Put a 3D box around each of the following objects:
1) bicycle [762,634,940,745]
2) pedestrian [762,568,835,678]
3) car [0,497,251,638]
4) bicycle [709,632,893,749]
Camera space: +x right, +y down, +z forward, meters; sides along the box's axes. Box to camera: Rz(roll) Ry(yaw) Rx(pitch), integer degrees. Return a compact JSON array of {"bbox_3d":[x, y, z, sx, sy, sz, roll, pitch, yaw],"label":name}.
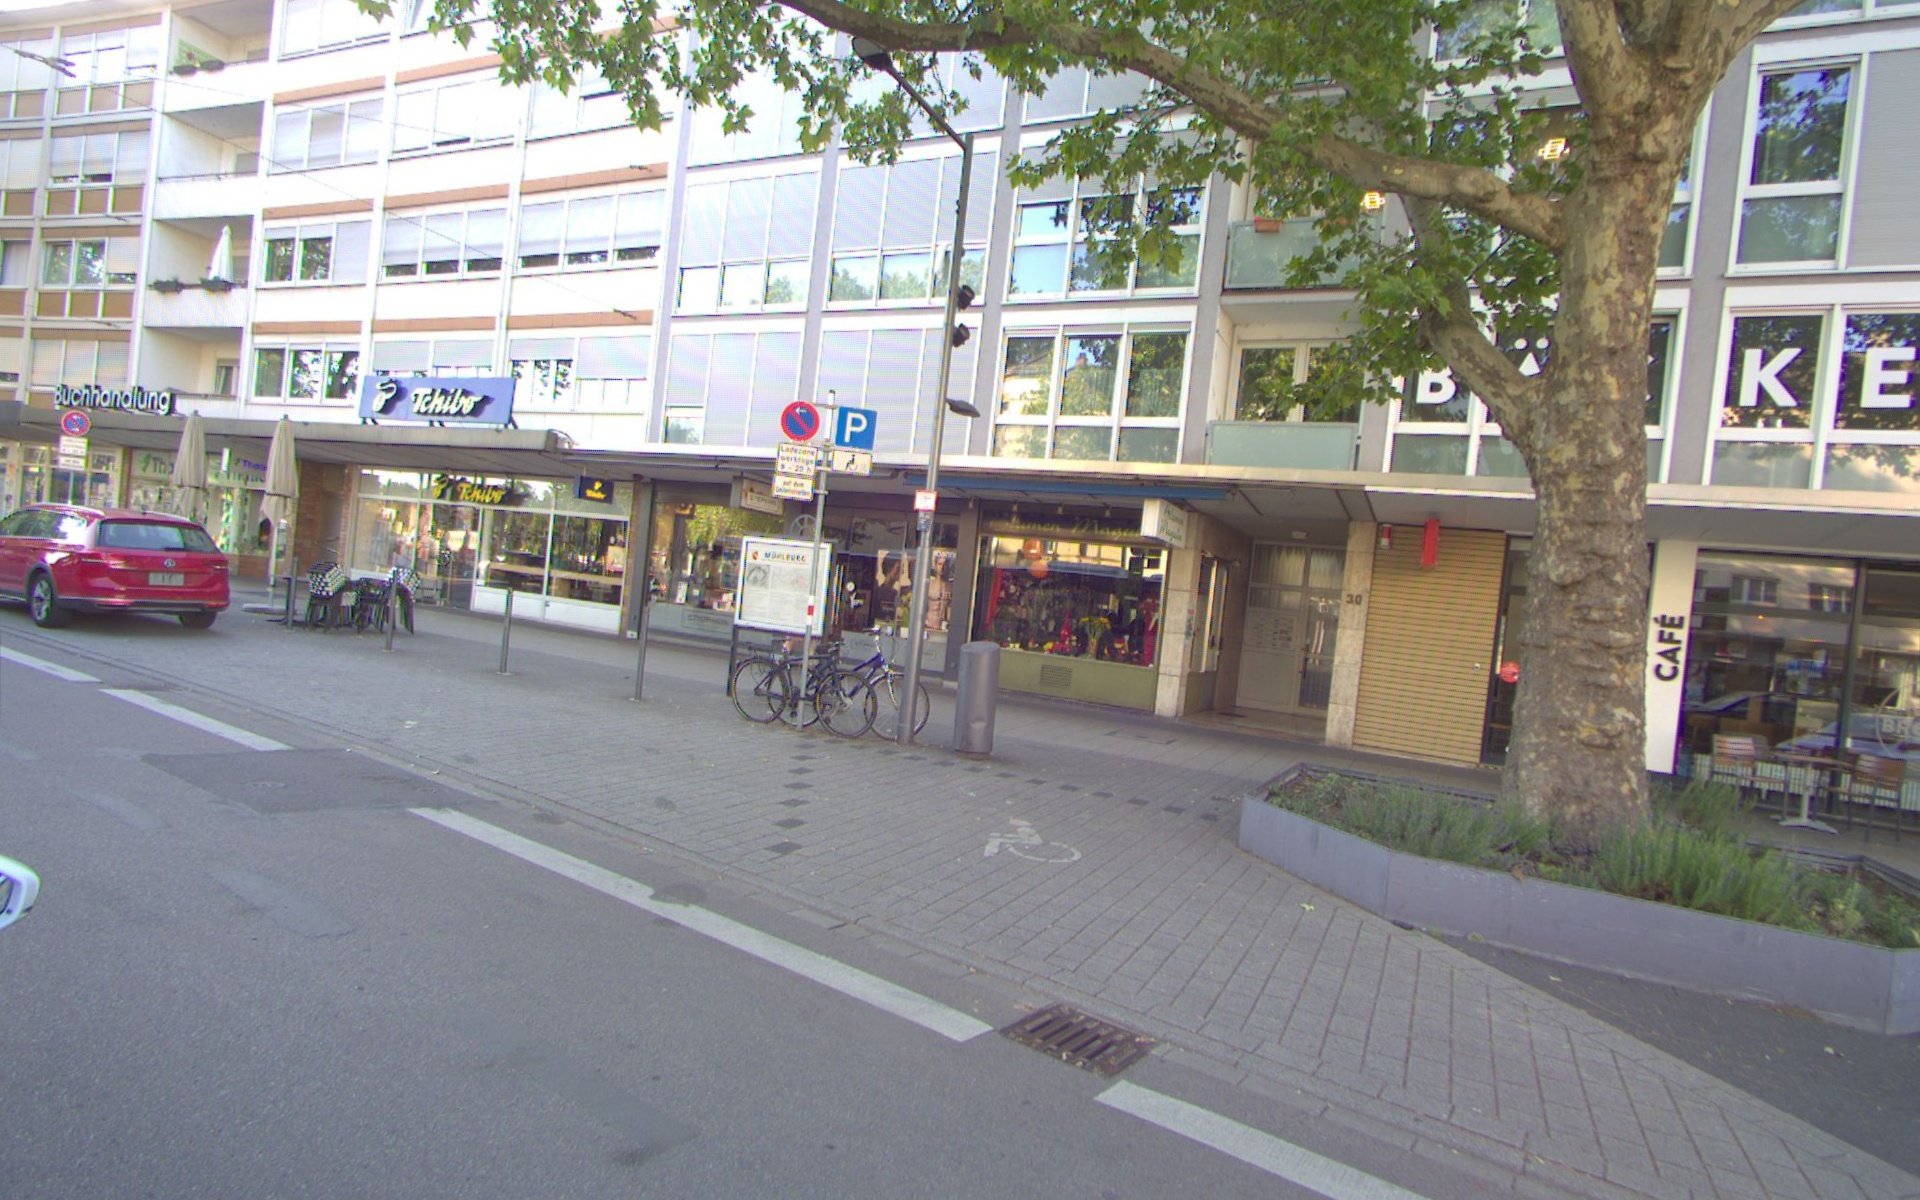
[{"bbox_3d":[-1.146,0.919,10.562,1.743,0.931,0.391,6,2,12],"label":"bicycle"},{"bbox_3d":[-2.522,0.348,15.720,0.776,1.613,0.651,7,3,26],"label":"pedestrian"},{"bbox_3d":[-11.641,-0.493,13.451,4.229,1.502,1.772,6,1,28],"label":"car"},{"bbox_3d":[-1.619,0.901,10.239,1.743,0.951,0.391,6,2,12],"label":"bicycle"}]
